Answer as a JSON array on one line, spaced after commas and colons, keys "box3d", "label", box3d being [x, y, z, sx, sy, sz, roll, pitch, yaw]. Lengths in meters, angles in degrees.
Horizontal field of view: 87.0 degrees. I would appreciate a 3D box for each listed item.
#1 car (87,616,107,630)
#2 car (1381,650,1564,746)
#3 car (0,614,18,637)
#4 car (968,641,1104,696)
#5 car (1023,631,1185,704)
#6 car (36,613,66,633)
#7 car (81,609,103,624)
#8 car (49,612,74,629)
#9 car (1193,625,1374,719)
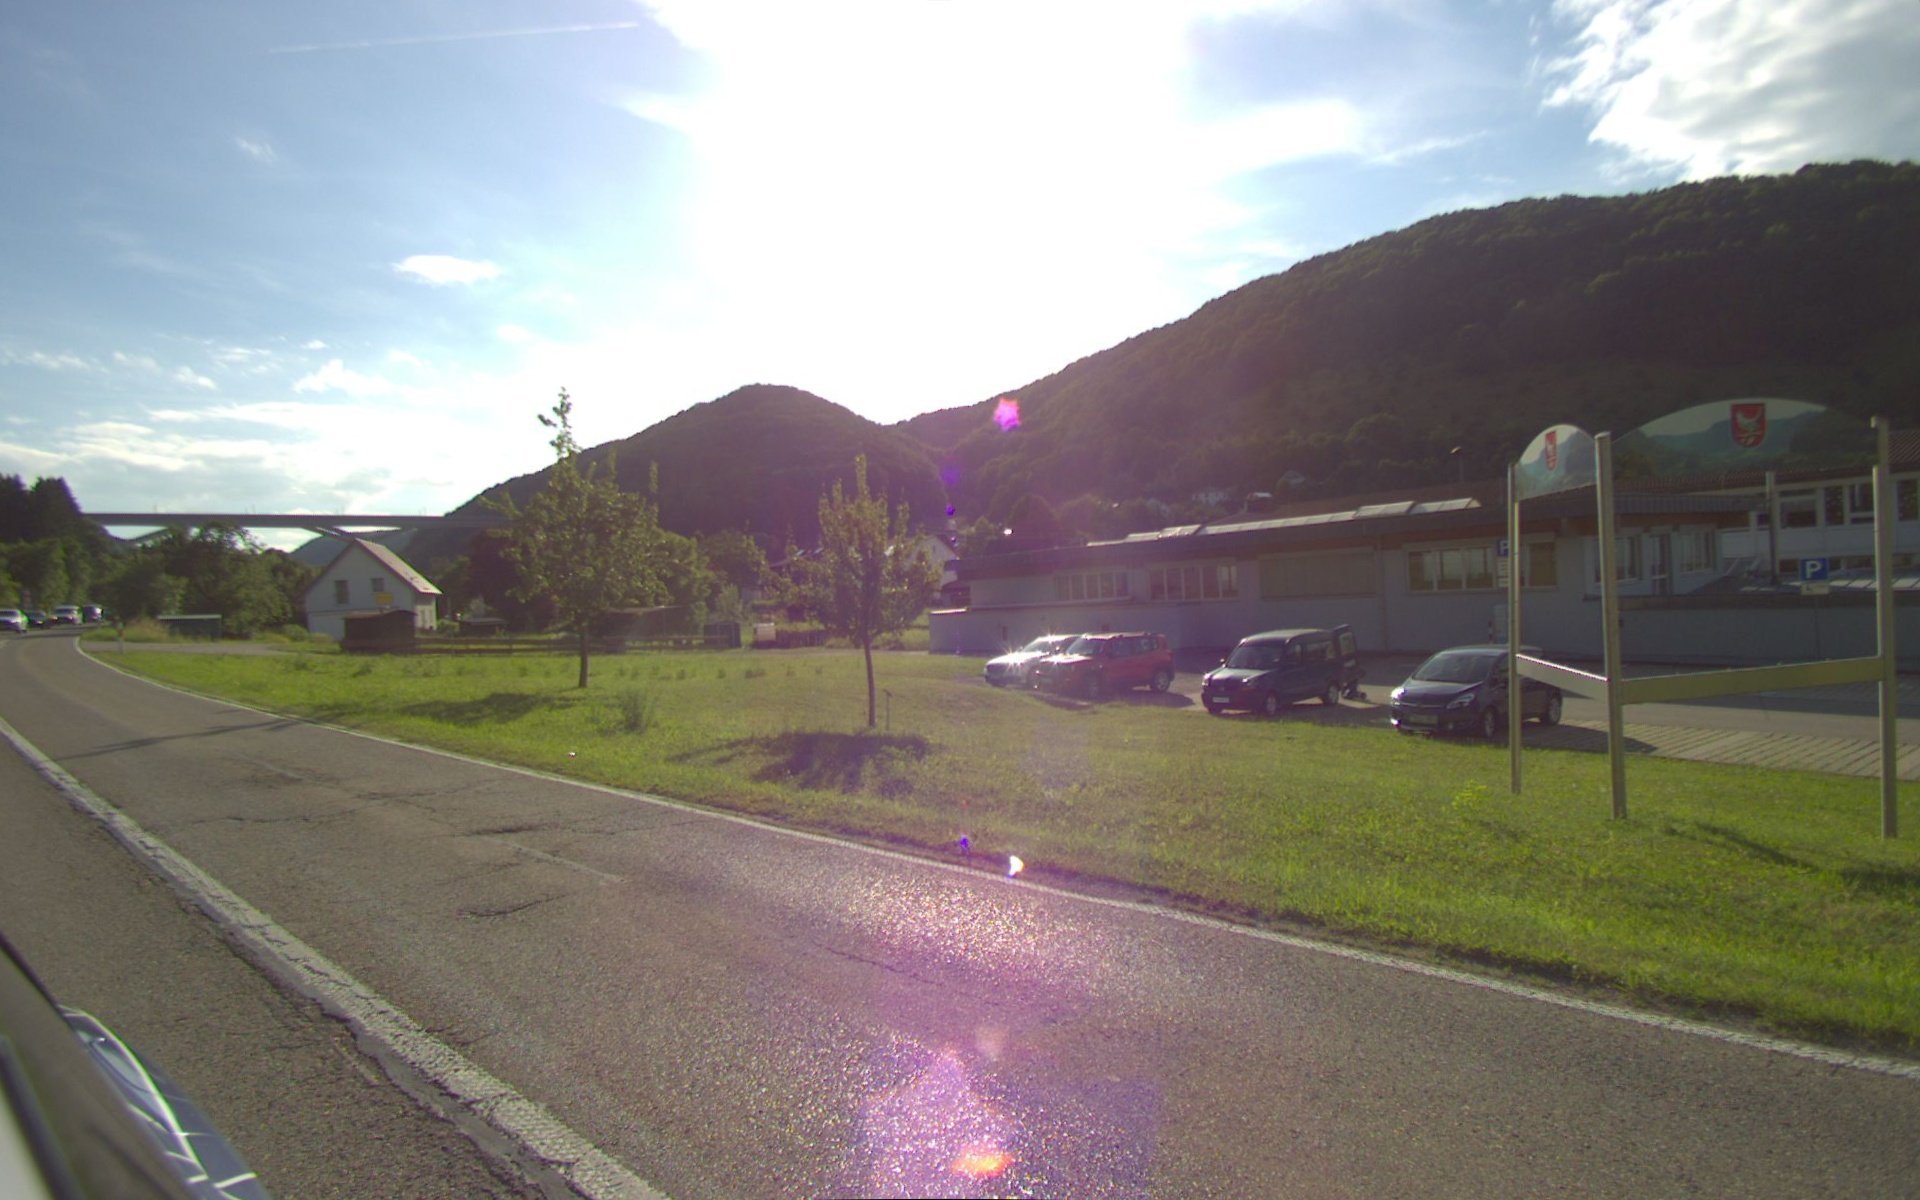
[{"box3d": [-98.177, 2.588, 115.124, 1.605, 1.490, 3.686, -1, 0, -39], "label": "car"}, {"box3d": [9.854, 1.789, 19.349, 3.957, 1.463, 1.687, -1, -2, -41], "label": "car"}, {"box3d": [-63.110, 1.657, 66.435, 3.680, 1.490, 1.608, 0, 0, 44], "label": "car"}, {"box3d": [2.323, 2.004, 30.411, 3.836, 1.379, 1.857, 0, 0, -38], "label": "car"}, {"box3d": [4.005, 1.797, 27.834, 4.263, 1.682, 1.853, -1, 0, -34], "label": "car"}, {"box3d": [-72.178, 1.804, 80.412, 1.605, 1.490, 3.686, -1, 0, -39], "label": "car"}, {"box3d": [-90.543, 1.728, 105.619, 1.605, 1.490, 3.686, -1, 0, -39], "label": "car"}, {"box3d": [-82.437, 1.824, 92.858, 1.607, 1.490, 3.683, -1, 0, -44], "label": "car"}, {"box3d": [7.659, 1.587, 23.715, 4.929, 1.807, 1.687, -1, 0, -41], "label": "car"}]
